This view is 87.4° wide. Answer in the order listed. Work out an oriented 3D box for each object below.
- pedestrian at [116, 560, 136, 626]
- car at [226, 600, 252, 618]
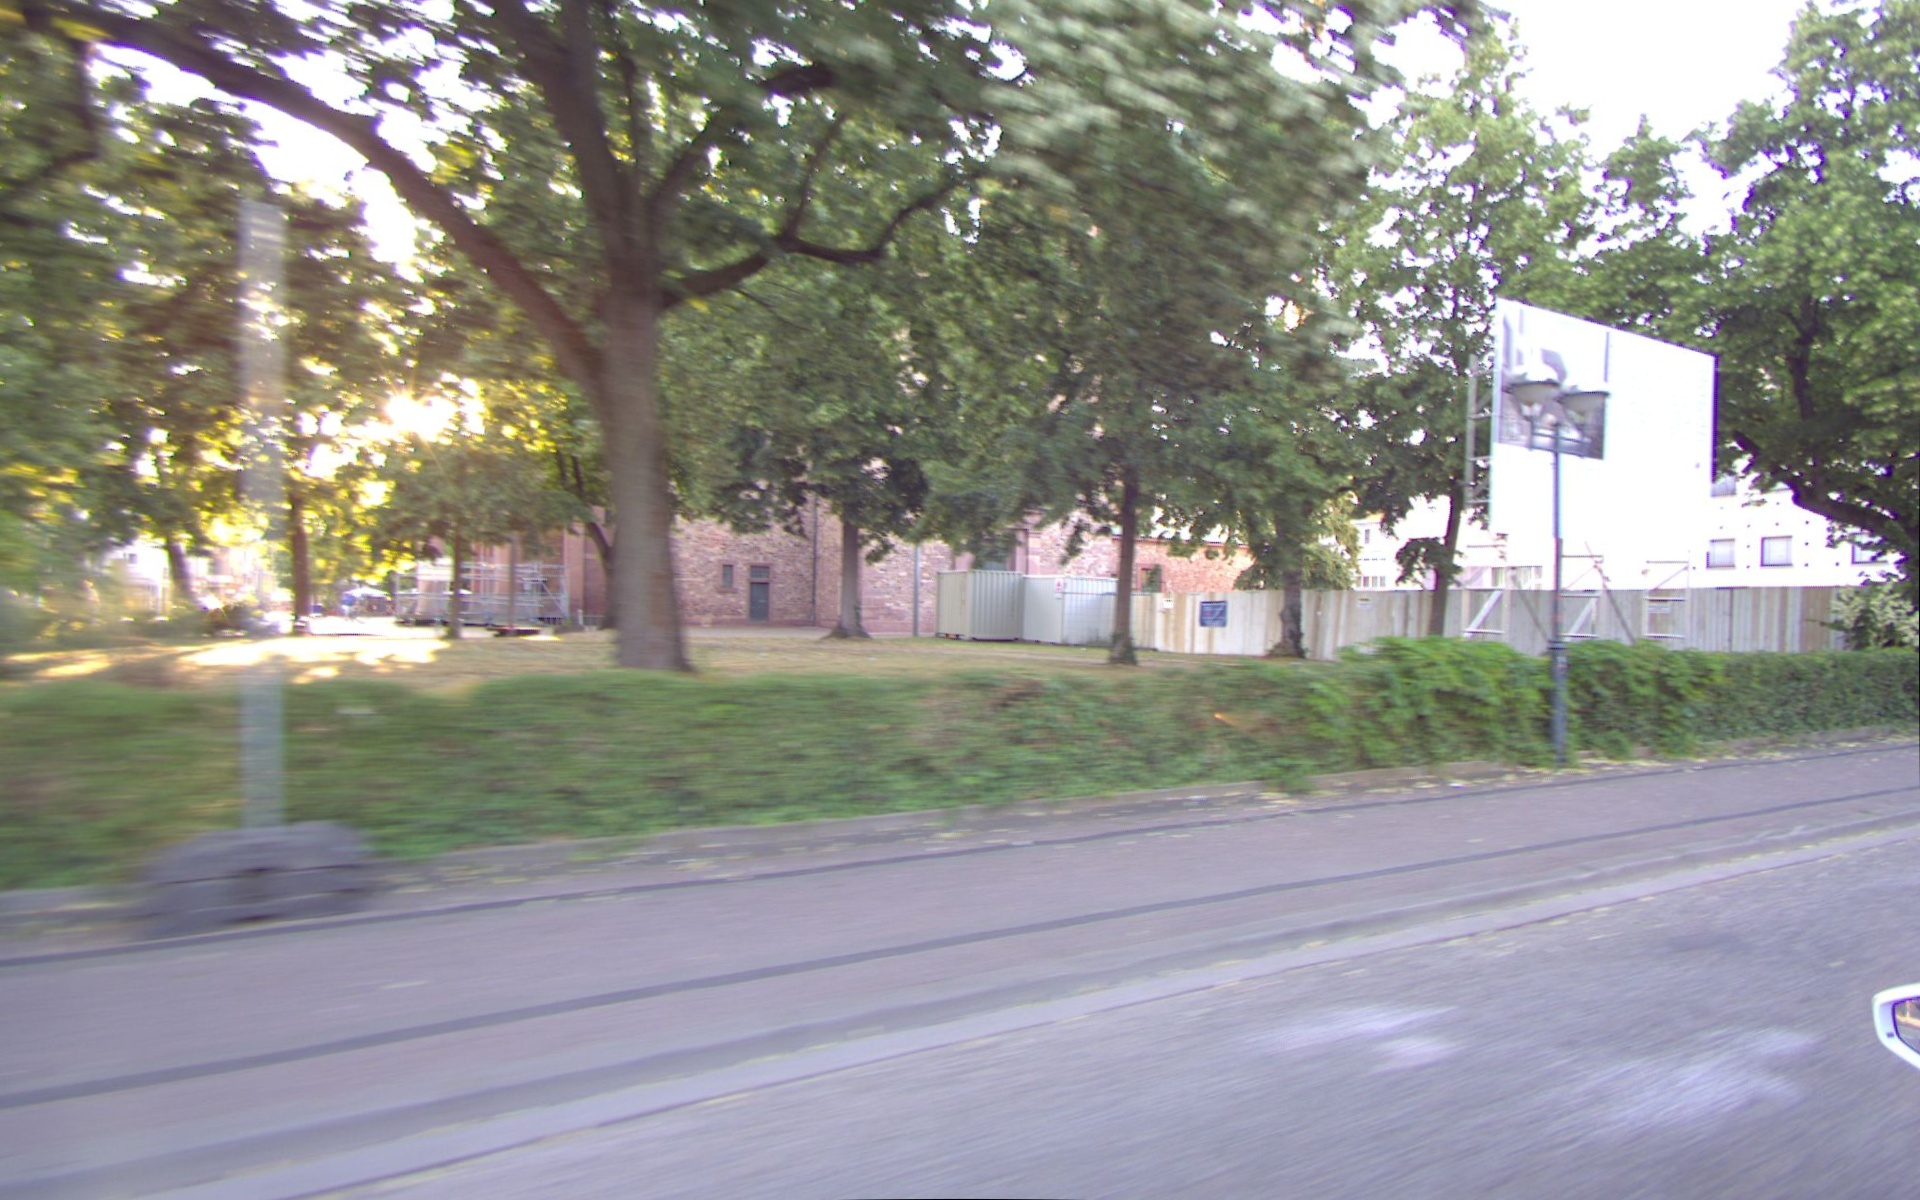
[{"bbox_3d":[-25.803,-0.215,31.078,0.457,2.040,0.403,1,-1,-41],"label":"pedestrian"},{"bbox_3d":[-86.624,1.088,120.738,1.976,2.040,3.970,1,-2,-29],"label":"car"}]
